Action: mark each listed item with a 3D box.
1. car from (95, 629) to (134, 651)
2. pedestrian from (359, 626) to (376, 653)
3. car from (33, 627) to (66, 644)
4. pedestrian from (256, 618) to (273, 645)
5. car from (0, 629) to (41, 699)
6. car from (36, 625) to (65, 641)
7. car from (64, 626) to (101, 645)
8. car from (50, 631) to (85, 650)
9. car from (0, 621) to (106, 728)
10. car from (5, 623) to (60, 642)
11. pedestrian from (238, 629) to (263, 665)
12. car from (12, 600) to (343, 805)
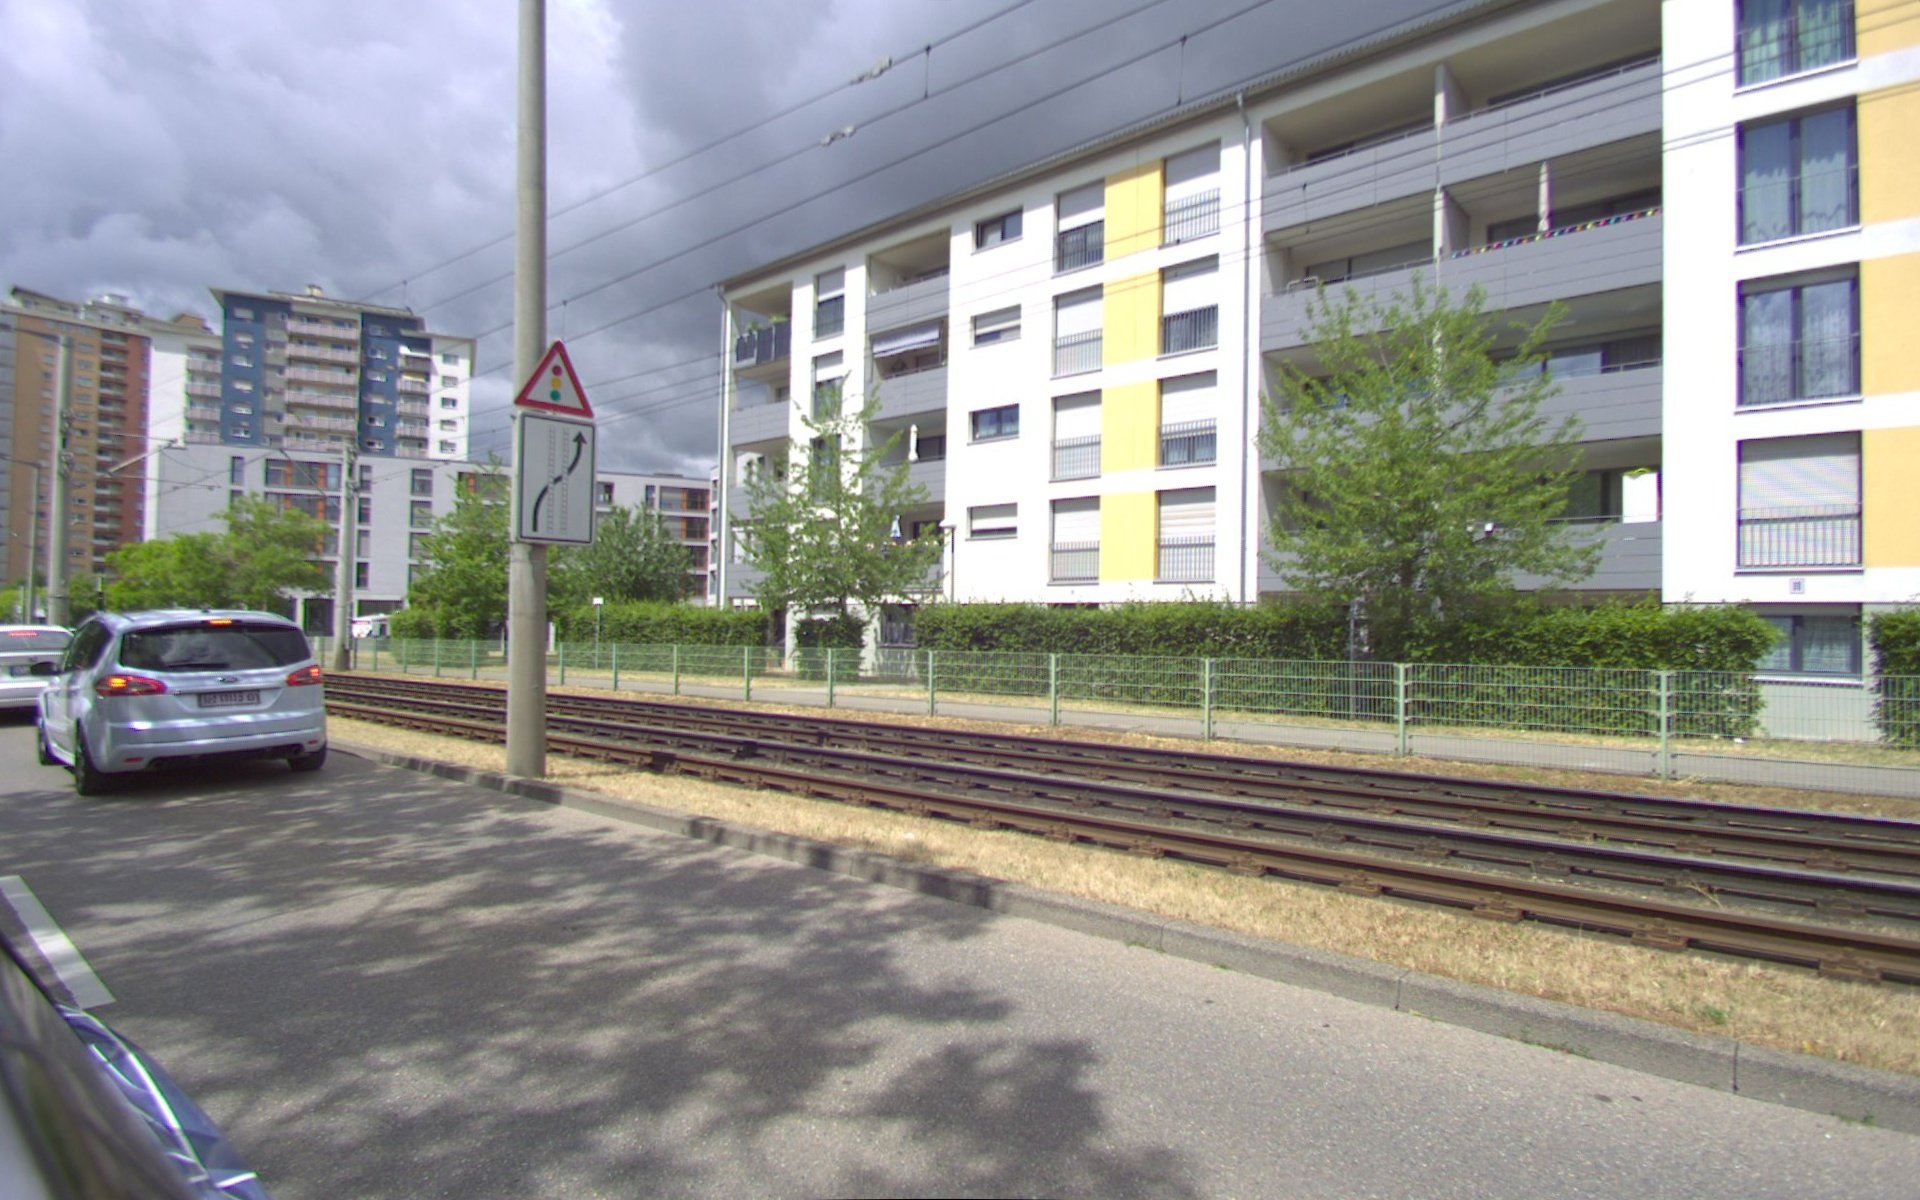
[{"bbox_3d":[-64.458,3.029,77.113,3.805,1.635,1.868,-1,-2,44],"label":"car"},{"bbox_3d":[-36.149,2.421,61.725,0.744,1.623,0.535,-1,-2,18],"label":"pedestrian"},{"bbox_3d":[-84.076,3.247,93.454,3.800,1.551,1.759,-1,-2,40],"label":"car"},{"bbox_3d":[-43.843,1.998,63.774,0.538,1.666,0.740,-1,-2,40],"label":"pedestrian"},{"bbox_3d":[-21.180,1.322,21.605,3.936,1.417,1.729,-1,-2,39],"label":"car"},{"bbox_3d":[-97.566,3.511,108.533,3.800,1.672,1.759,-1,-2,40],"label":"car"},{"bbox_3d":[-73.850,2.995,85.185,3.800,1.551,1.759,-1,-2,40],"label":"car"},{"bbox_3d":[-78.828,3.563,89.369,3.800,1.551,1.759,-1,-2,40],"label":"car"},{"bbox_3d":[-15.309,1.107,16.146,4.833,1.514,1.799,-1,-1,40],"label":"car"},{"bbox_3d":[-101.422,3.544,110.749,1.855,1.940,4.496,0,-1,0],"label":"car"},{"bbox_3d":[-33.383,2.202,47.621,0.937,1.625,0.746,-1,-2,40],"label":"pedestrian"},{"bbox_3d":[-8.058,0.851,10.247,4.599,1.626,1.798,-1,-1,41],"label":"car"}]
